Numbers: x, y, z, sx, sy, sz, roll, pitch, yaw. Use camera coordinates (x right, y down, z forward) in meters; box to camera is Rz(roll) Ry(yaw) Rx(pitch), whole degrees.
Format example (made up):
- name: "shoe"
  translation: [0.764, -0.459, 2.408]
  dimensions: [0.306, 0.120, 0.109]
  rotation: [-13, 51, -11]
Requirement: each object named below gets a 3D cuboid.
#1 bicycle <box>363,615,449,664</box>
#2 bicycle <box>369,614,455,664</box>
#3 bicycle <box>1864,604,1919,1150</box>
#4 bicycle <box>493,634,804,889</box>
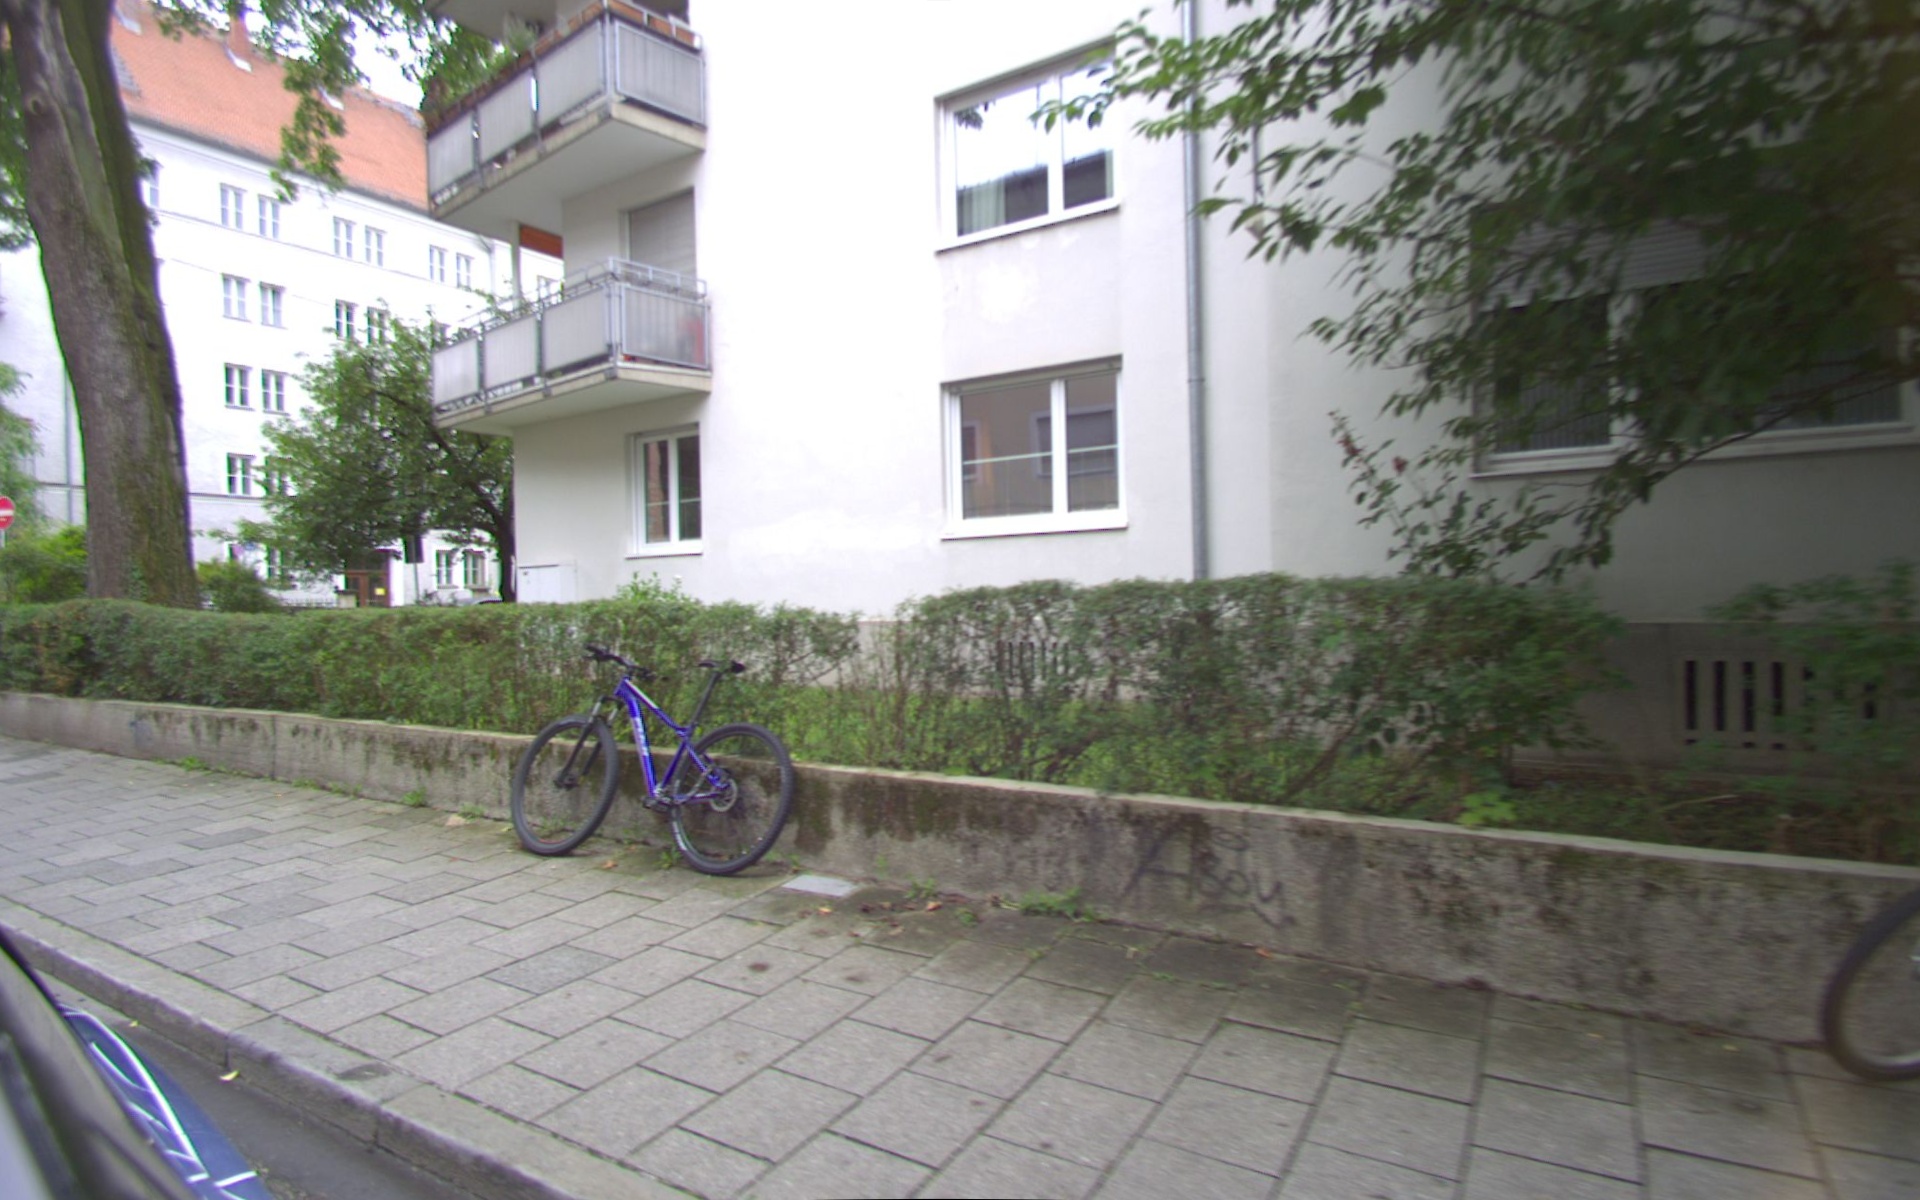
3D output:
- name: "bicycle"
  translation: [-13.384, 0.935, 24.493]
  dimensions: [1.752, 1.080, 0.348]
  rotation: [-3, 0, -39]
- name: "bicycle"
  translation: [-13.123, 0.921, 24.249]
  dimensions: [1.752, 1.080, 0.348]
  rotation: [-3, 2, -39]
- name: "bicycle"
  translation: [2.892, 0.601, 1.920]
  dimensions: [1.694, 1.160, 0.484]
  rotation: [0, 3, 34]
- name: "bicycle"
  translation: [-1.590, 0.730, 5.010]
  dimensions: [1.774, 1.079, 0.344]
  rotation: [-2, 3, 33]
